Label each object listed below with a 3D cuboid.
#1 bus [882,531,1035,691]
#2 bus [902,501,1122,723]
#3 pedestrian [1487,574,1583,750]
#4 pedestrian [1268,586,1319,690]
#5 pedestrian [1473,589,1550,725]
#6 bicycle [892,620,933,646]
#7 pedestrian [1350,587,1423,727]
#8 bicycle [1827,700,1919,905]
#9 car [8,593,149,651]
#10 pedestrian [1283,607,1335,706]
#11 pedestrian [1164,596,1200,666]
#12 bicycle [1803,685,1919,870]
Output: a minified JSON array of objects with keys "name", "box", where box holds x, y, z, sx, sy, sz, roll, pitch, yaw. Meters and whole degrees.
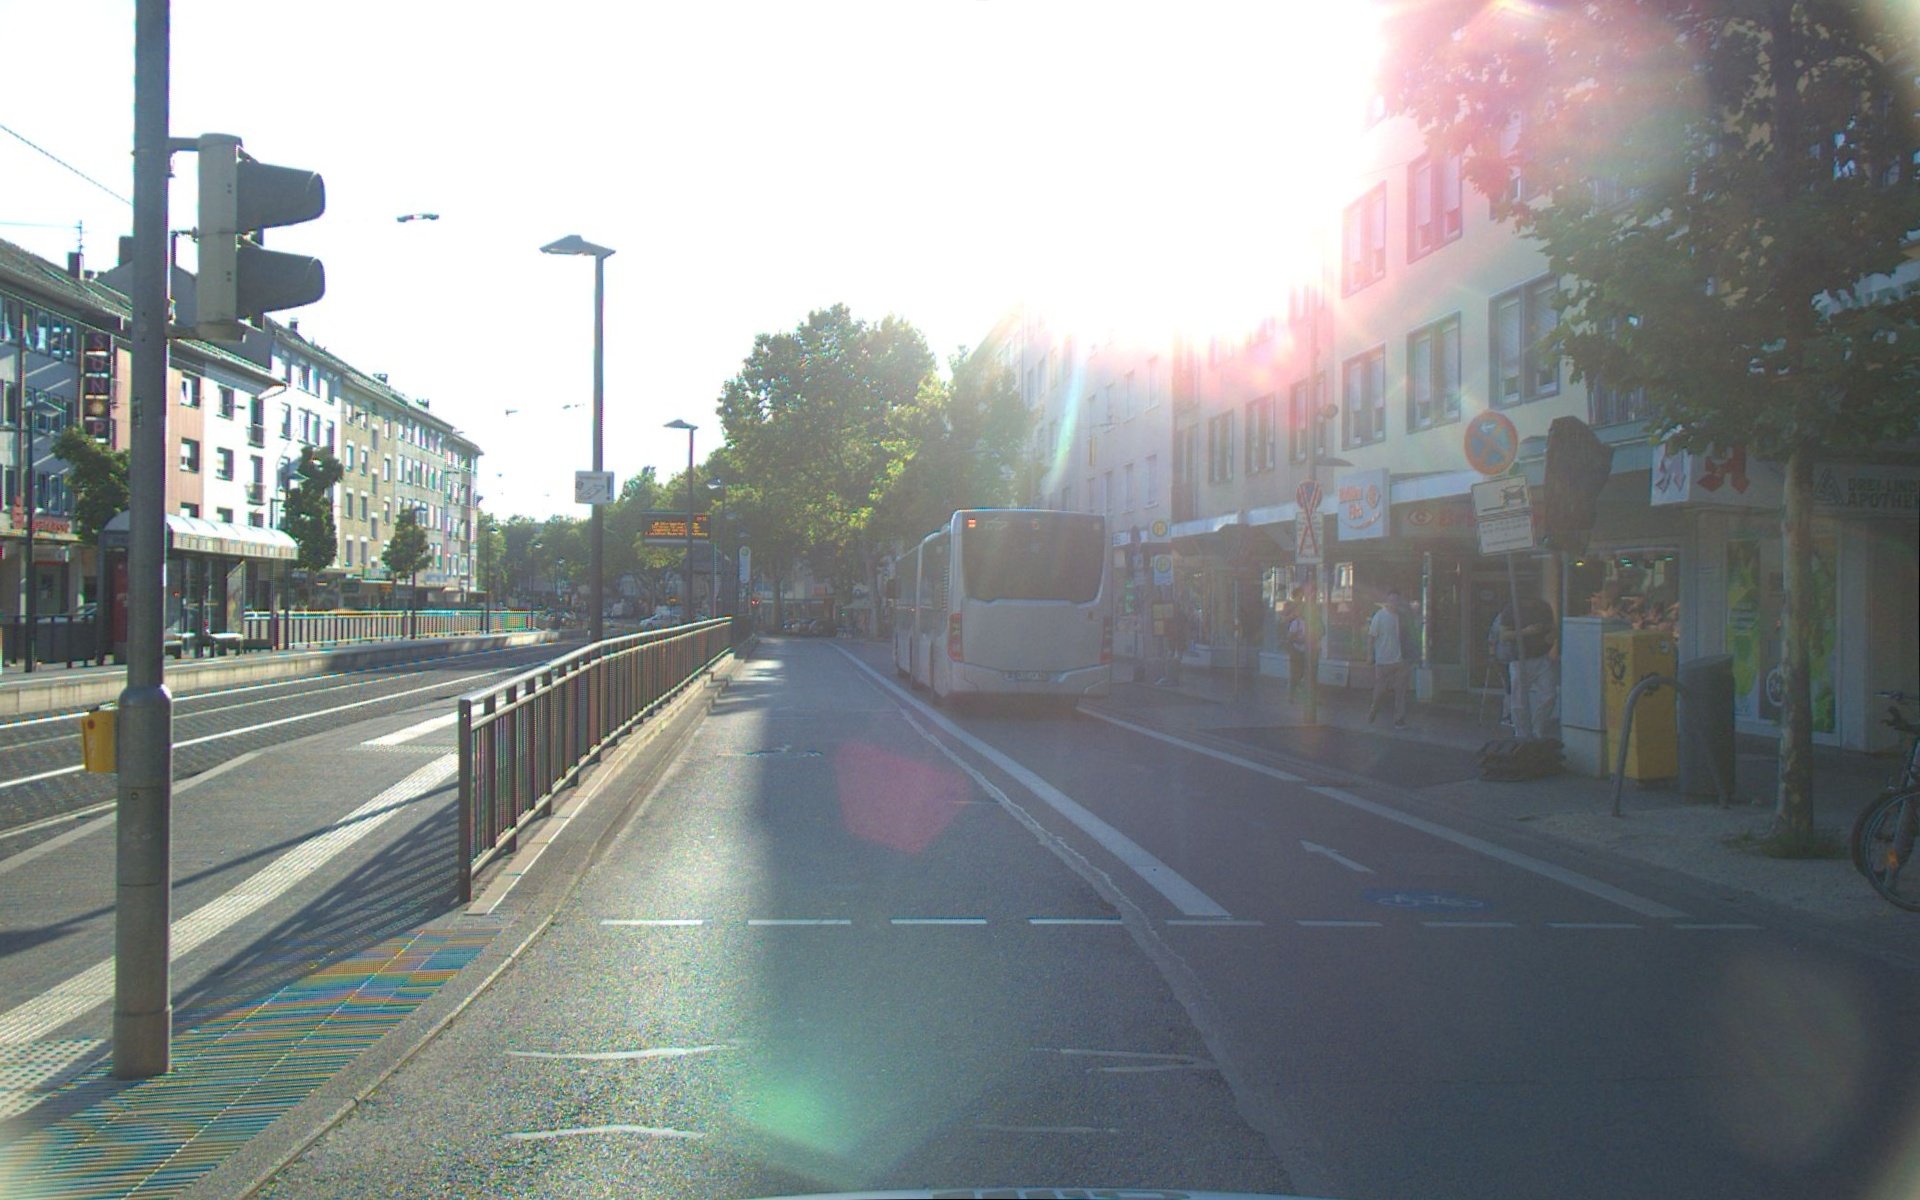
[{"name":"bus","box":[-0.240,0.254,37.873,2.644,3.173,9.059,1,0,-5]},{"name":"bus","box":[0.600,0.211,28.735,2.644,3.173,9.370,1,0,-5]},{"name":"pedestrian","box":[6.119,0.649,17.633,0.709,1.838,0.765,0,-1,-6]},{"name":"pedestrian","box":[6.082,0.692,30.182,0.709,1.872,0.765,0,-1,-6]},{"name":"pedestrian","box":[7.239,0.743,21.726,0.709,1.754,0.765,0,-1,-6]},{"name":"bicycle","box":[-2.239,1.545,78.354,1.849,1.096,0.754,-4,0,-3]},{"name":"pedestrian","box":[5.614,0.736,21.795,0.709,1.810,0.765,0,-1,-6]},{"name":"bicycle","box":[5.779,1.072,9.142,1.765,1.026,0.540,-2,0,-9]},{"name":"car","box":[-27.461,0.665,51.632,1.733,1.709,3.502,0,0,32]},{"name":"pedestrian","box":[5.763,0.919,27.346,0.598,1.606,0.850,0,-1,-6]},{"name":"pedestrian","box":[5.380,0.748,40.106,0.709,1.661,0.765,0,-1,-6]},{"name":"bicycle","box":[5.750,1.022,9.698,1.455,1.026,0.453,1,0,-9]}]
